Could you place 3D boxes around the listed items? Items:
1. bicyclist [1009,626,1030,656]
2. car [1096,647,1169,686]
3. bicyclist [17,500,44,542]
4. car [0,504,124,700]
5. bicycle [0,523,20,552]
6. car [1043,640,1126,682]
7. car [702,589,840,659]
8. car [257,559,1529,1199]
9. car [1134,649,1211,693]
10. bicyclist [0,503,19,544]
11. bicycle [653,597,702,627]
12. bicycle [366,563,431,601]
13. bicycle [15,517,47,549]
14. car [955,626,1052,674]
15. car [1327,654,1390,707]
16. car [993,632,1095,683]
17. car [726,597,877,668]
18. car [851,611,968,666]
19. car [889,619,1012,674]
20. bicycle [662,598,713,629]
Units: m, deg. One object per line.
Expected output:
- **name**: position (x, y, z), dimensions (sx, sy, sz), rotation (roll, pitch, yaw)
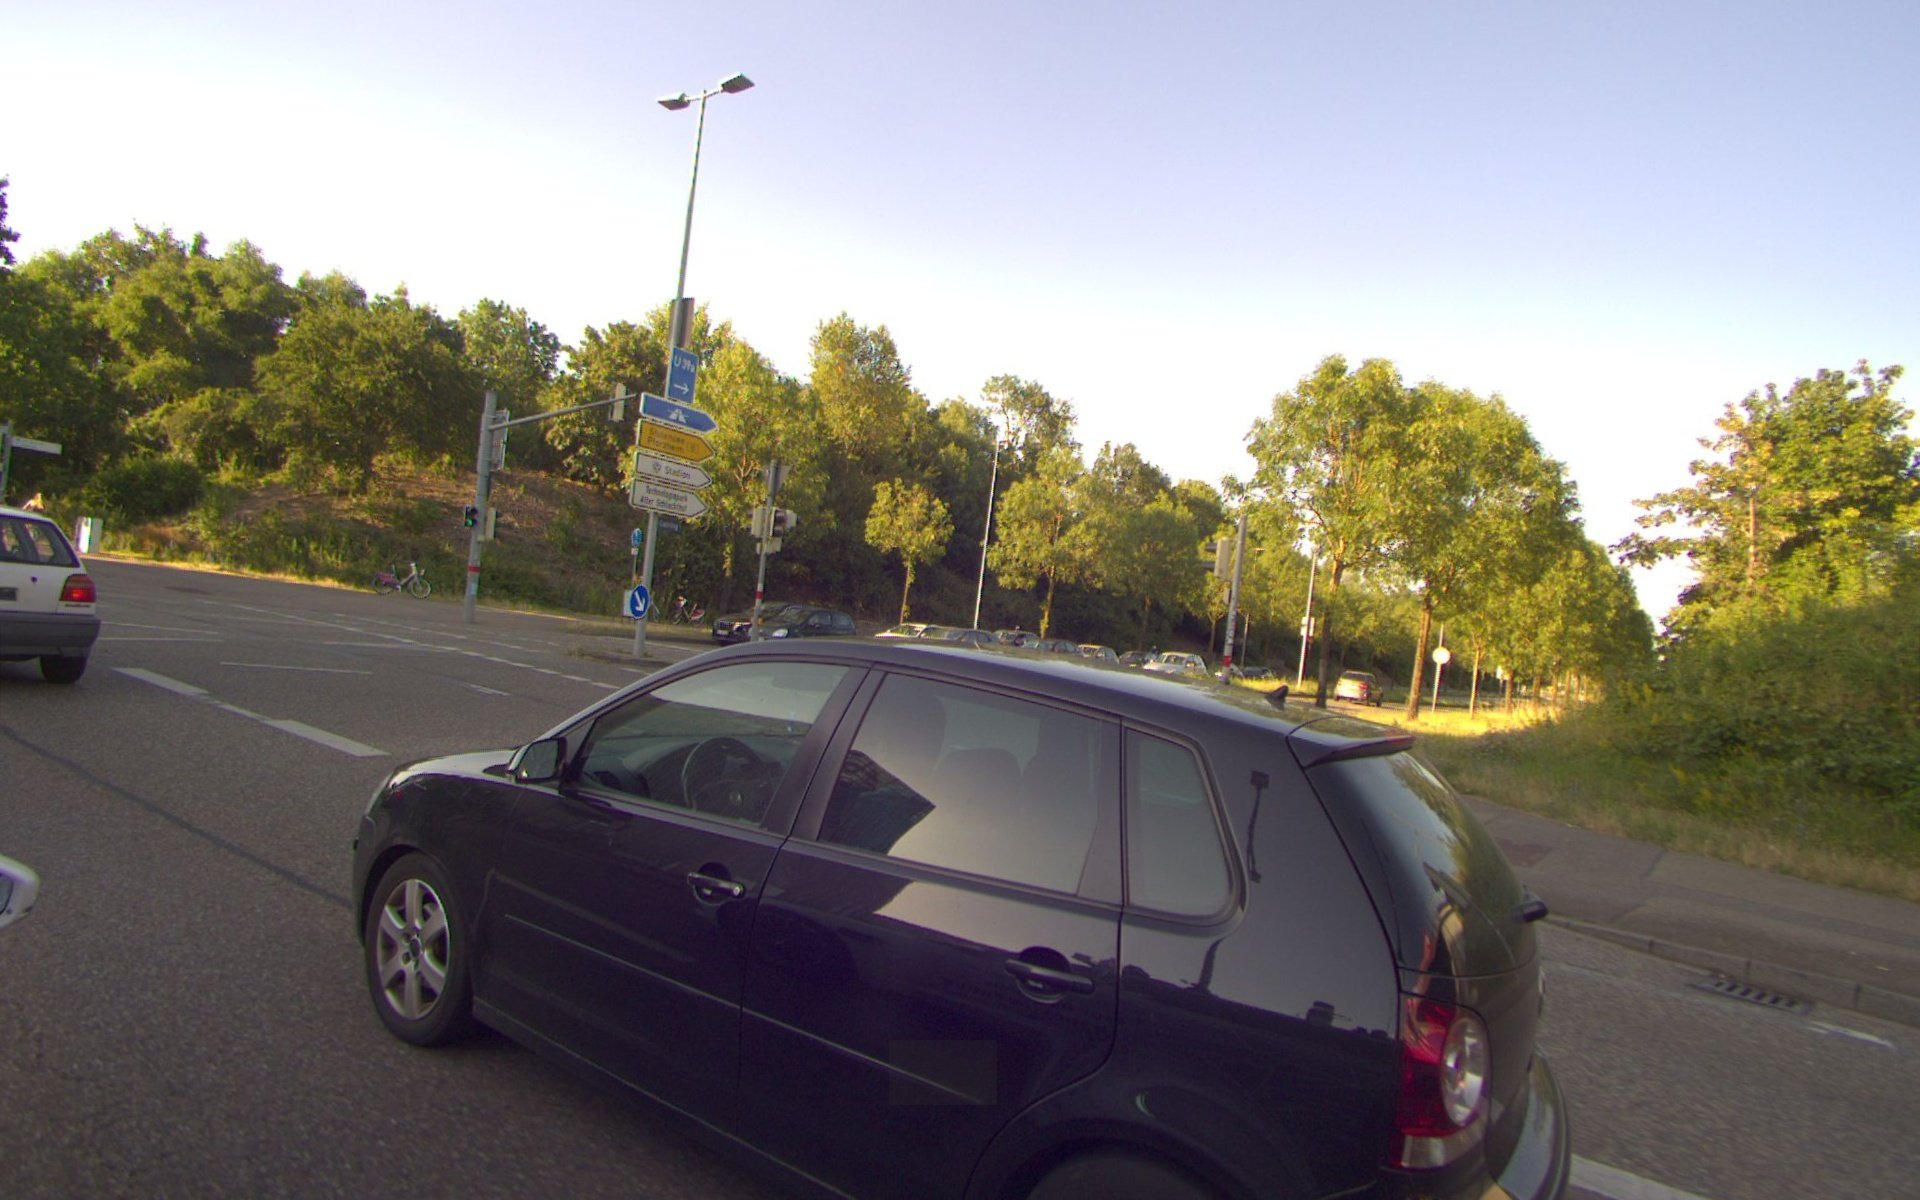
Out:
- **bicyclist**: position (3.534, 2.413, 59.445), dimensions (0.780, 1.612, 0.859), rotation (5, -2, 32)
- **car**: position (9.403, 3.633, 54.647), dimensions (2.011, 1.585, 4.330), rotation (5, -4, 38)
- **bicyclist**: position (-28.884, -2.449, 31.273), dimensions (0.452, 1.248, 0.428), rotation (5, 0, 32)
- **car**: position (-8.863, -0.155, 8.385), dimensions (3.995, 1.429, 1.582), rotation (5, -3, 31)
- **bicycle**: position (-32.449, -2.134, 34.150), dimensions (1.010, 0.925, 0.438), rotation (5, -2, 32)
- **car**: position (6.174, 3.035, 49.562), dimensions (2.011, 1.585, 4.330), rotation (5, -4, 38)
- **car**: position (-5.951, 0.811, 32.051), dimensions (1.835, 1.712, 3.989), rotation (5, -4, 38)
- **car**: position (-0.392, 0.786, 3.161), dimensions (3.624, 1.425, 1.619), rotation (5, -3, 33)
- **car**: position (9.318, 3.131, 43.958), dimensions (1.860, 1.547, 3.994), rotation (5, -3, 33)
- **bicyclist**: position (-32.412, -2.597, 34.170), dimensions (0.452, 1.323, 0.428), rotation (5, -2, 32)
- **bicycle**: position (-11.579, 0.494, 41.252), dimensions (1.788, 0.991, 0.631), rotation (10, -4, -44)
- **bicycle**: position (-18.036, -0.584, 32.331), dimensions (1.656, 1.004, 0.571), rotation (7, 2, -42)
- **bicycle**: position (-28.832, -2.078, 31.205), dimensions (1.010, 0.926, 0.437), rotation (5, 1, 32)
- **car**: position (1.953, 2.198, 43.791), dimensions (2.011, 1.585, 4.330), rotation (5, -4, 38)
- **car**: position (19.871, 4.038, 50.056), dimensions (1.968, 2.203, 3.994), rotation (5, -3, 33)
- **car**: position (3.468, 2.364, 41.040), dimensions (2.011, 1.585, 4.330), rotation (5, -4, 38)
- **car**: position (-4.580, 0.990, 29.530), dimensions (1.971, 1.547, 3.989), rotation (5, -4, 38)
- **car**: position (-1.869, 1.505, 38.562), dimensions (2.011, 1.585, 4.330), rotation (5, -4, 38)
- **car**: position (-0.270, 1.673, 35.552), dimensions (2.011, 1.423, 4.330), rotation (5, -4, 38)
- **bicycle**: position (-10.923, 0.562, 40.296), dimensions (1.788, 0.991, 0.631), rotation (10, -2, -44)
